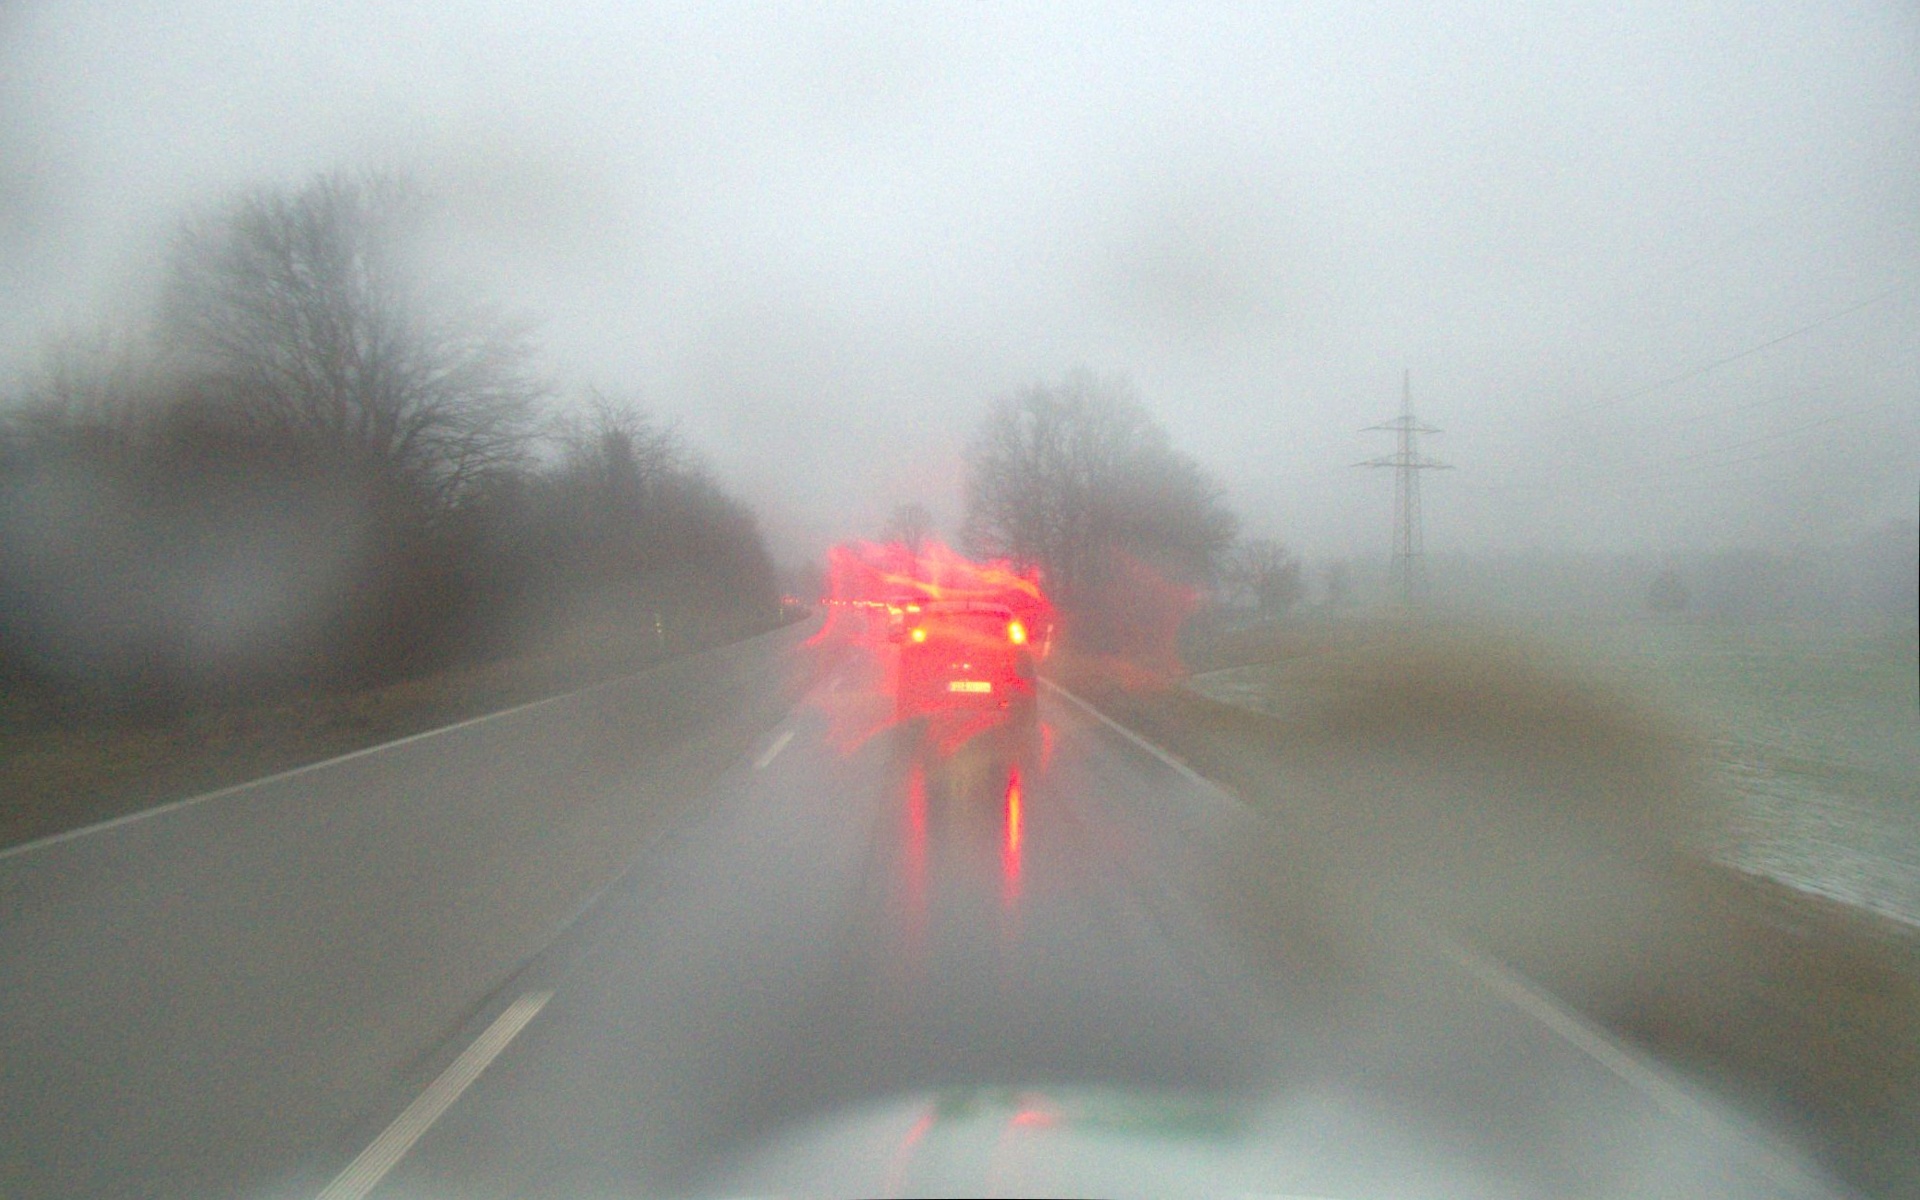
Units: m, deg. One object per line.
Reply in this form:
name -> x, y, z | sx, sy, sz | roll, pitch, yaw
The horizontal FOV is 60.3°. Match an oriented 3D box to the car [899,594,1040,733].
car -> 0.136, 0.725, 20.735 | 1.569, 1.549, 3.869 | 1, 0, 1

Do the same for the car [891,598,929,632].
car -> -2.147, 0.639, 72.173 | 1.515, 1.421, 3.869 | 1, 0, 0

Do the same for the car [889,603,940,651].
car -> -1.434, 0.829, 52.034 | 1.516, 1.421, 3.868 | 1, 0, -2
